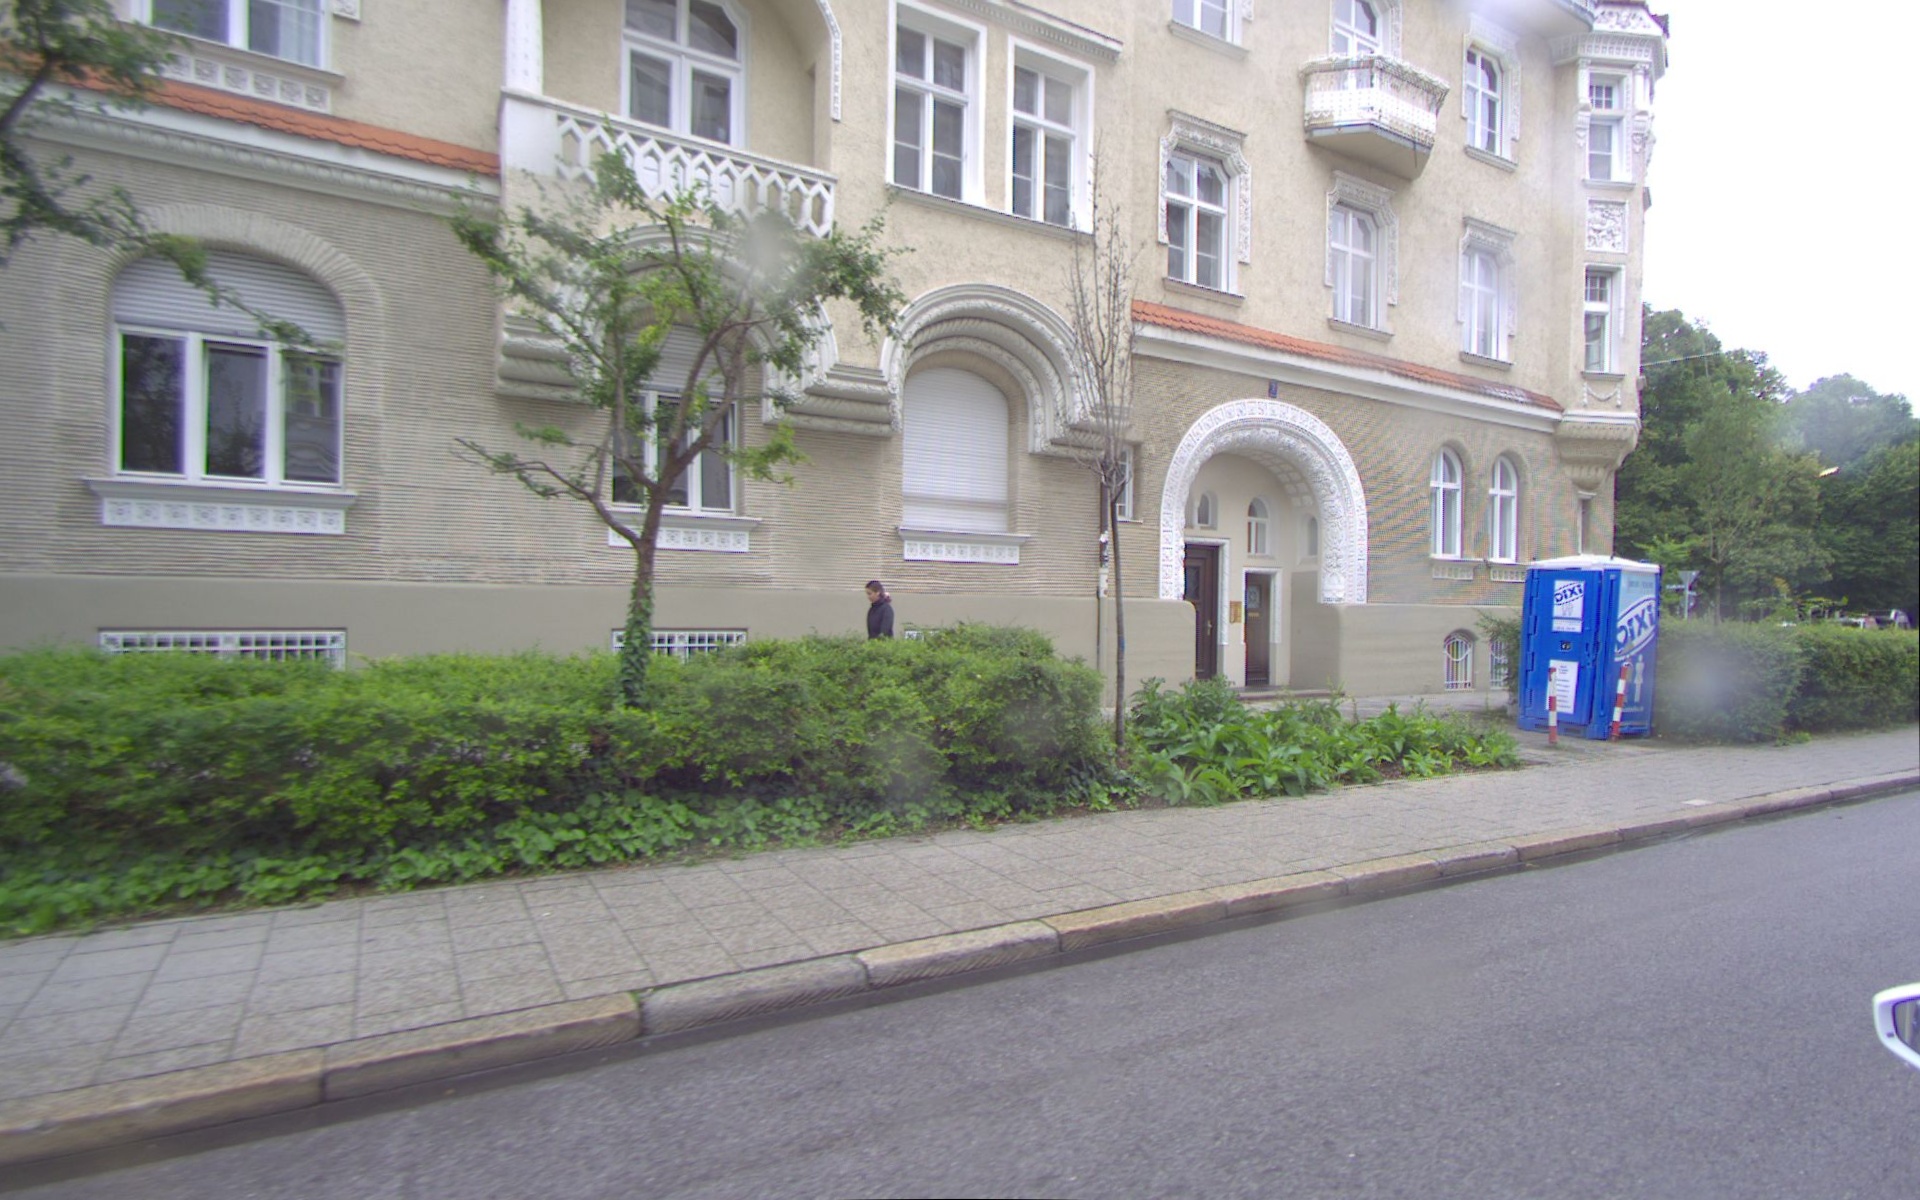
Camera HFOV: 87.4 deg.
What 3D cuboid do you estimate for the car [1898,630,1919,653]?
[{"bbox_3d":[69.897,3.025,72.923,4.034,1.558,1.883,2,-1,-36],"label":"car"}]

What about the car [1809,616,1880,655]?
[{"bbox_3d":[53.745,2.151,60.989,5.143,2.281,2.097,2,-1,-35],"label":"car"}]

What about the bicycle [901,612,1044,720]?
[{"bbox_3d":[0.172,0.811,12.859,1.682,1.293,0.741,1,0,-29],"label":"bicycle"}]

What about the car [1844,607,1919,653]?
[{"bbox_3d":[61.159,1.994,66.615,6.512,2.961,2.320,2,-1,-35],"label":"car"}]

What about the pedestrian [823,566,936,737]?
[{"bbox_3d":[-0.895,0.551,11.104,0.937,1.774,0.909,1,-1,-30],"label":"pedestrian"}]
